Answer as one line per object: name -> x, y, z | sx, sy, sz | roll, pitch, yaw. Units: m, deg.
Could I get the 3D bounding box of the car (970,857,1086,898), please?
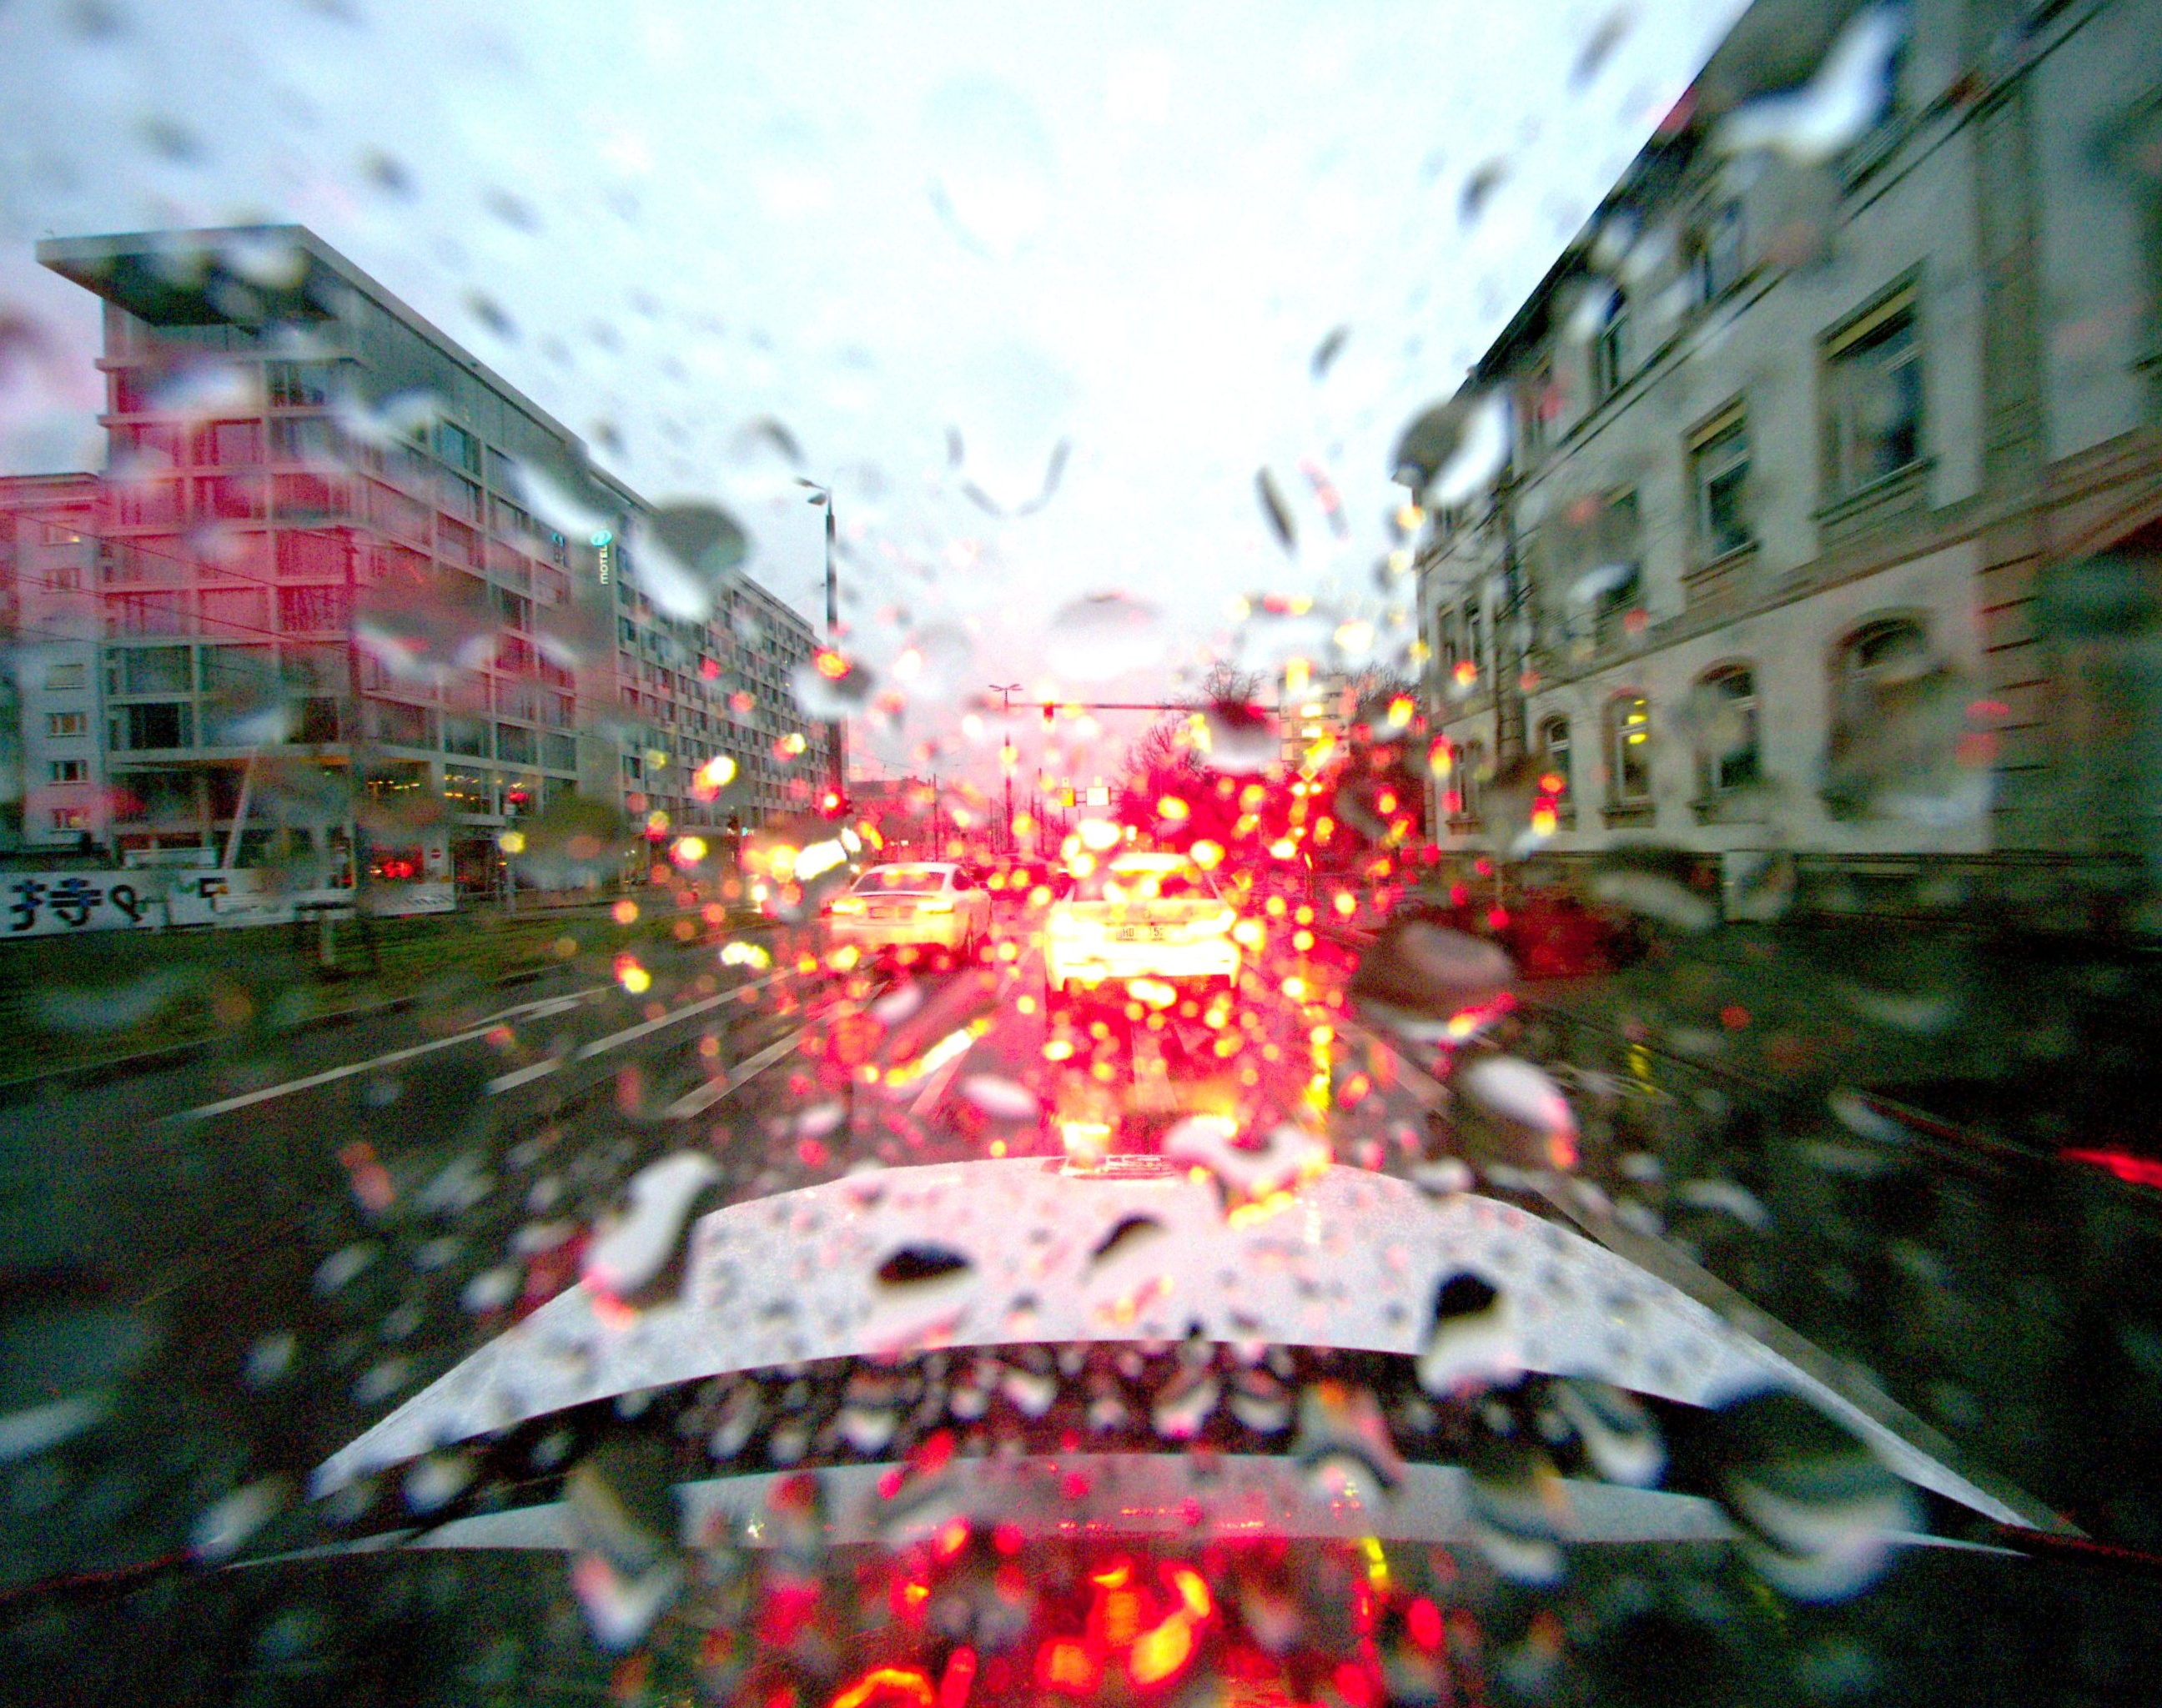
car -> -2.303, 1.029, 35.633 | 4.657, 1.720, 1.877 | -1, -1, 18

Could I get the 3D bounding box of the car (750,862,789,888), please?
car -> -19.344, 1.248, 50.436 | 1.767, 1.530, 4.287 | 0, -1, -28

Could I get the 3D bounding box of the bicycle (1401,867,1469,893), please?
bicycle -> 15.626, 1.150, 36.013 | 2.647, 1.089, 0.818 | -1, -1, 15

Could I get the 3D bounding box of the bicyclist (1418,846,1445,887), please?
bicyclist -> 15.495, 0.556, 36.061 | 0.965, 1.759, 0.816 | -1, -1, 14

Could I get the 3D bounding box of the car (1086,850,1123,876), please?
car -> 1.501, 0.581, 53.464 | 1.841, 1.609, 3.934 | 0, -1, -7

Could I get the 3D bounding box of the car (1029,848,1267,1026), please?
car -> 0.561, 0.684, 9.091 | 1.987, 1.456, 4.367 | -1, 0, 0

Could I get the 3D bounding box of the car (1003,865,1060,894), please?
car -> -2.951, 1.513, 49.306 | 1.826, 1.609, 3.967 | -1, -1, 24

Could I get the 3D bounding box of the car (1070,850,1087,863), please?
car -> -0.314, 0.236, 95.514 | 1.987, 1.456, 4.367 | -1, 0, 0

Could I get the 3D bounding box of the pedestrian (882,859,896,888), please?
pedestrian -> -11.751, 1.195, 49.886 | 0.791, 1.711, 0.809 | 0, -1, -14

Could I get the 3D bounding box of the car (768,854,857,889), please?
car -> -13.982, 0.925, 42.335 | 4.650, 1.720, 1.913 | -2, -1, 33

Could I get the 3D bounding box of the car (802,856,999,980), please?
car -> -2.475, 0.811, 12.371 | 1.987, 1.456, 4.367 | -1, 0, 0
